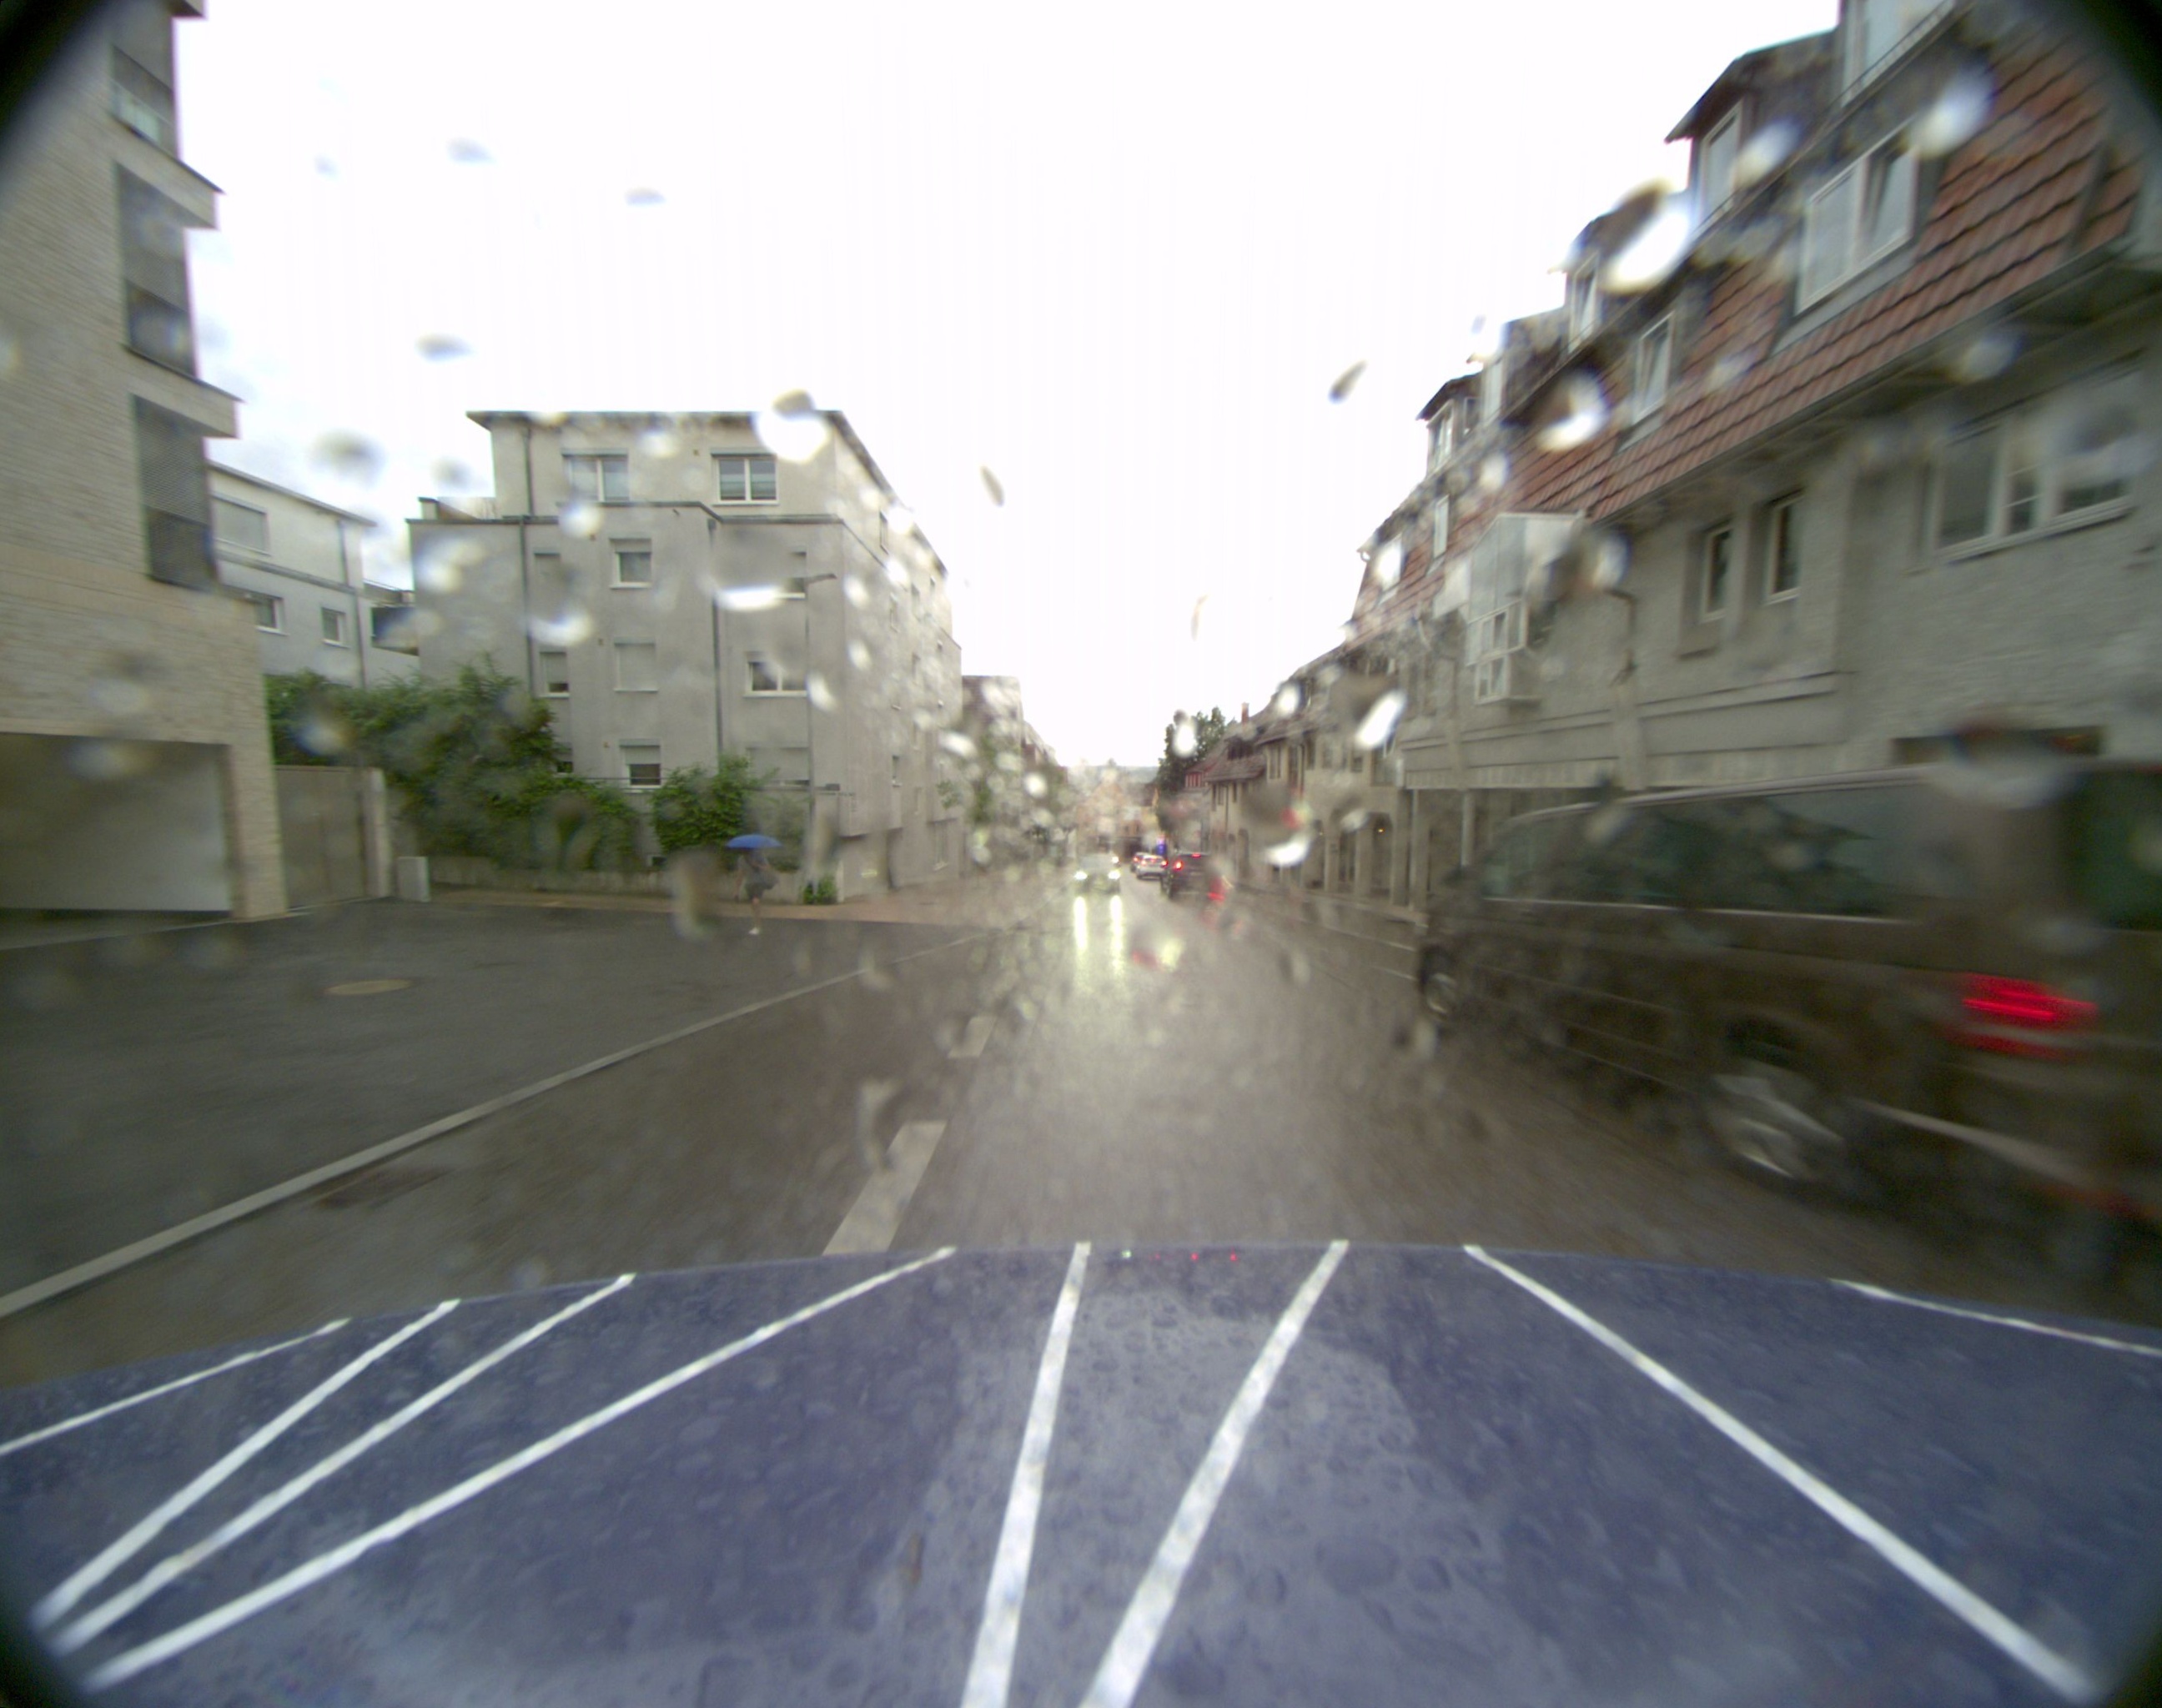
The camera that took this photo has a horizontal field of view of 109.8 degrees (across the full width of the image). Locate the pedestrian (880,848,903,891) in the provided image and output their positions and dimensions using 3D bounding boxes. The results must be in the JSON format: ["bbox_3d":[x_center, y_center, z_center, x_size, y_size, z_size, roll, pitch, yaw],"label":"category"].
[{"bbox_3d":[-6.983,0.575,28.068,0.692,1.547,0.710,-1,1,-5],"label":"pedestrian"}]

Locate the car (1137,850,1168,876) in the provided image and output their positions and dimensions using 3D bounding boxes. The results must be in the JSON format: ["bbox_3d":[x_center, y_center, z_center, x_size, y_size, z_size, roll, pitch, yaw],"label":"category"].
[{"bbox_3d":[4.370,0.539,46.676,1.681,1.501,3.589,0,1,2],"label":"car"}]

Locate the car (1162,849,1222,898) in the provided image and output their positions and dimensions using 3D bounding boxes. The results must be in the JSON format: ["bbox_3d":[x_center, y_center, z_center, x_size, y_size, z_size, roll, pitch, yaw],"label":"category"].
[{"bbox_3d":[4.113,0.650,28.669,1.786,1.684,4.460,0,1,2],"label":"car"}]

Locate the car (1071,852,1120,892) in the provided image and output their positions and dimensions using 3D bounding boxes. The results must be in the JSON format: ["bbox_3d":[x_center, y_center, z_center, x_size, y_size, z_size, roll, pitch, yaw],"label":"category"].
[{"bbox_3d":[0.679,0.732,32.634,1.967,1.549,4.622,0,1,2],"label":"car"}]

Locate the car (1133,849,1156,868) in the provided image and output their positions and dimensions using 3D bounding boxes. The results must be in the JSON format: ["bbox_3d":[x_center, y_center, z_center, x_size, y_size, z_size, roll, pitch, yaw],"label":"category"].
[{"bbox_3d":[5.314,0.337,63.729,1.681,1.501,3.588,0,1,0],"label":"car"}]

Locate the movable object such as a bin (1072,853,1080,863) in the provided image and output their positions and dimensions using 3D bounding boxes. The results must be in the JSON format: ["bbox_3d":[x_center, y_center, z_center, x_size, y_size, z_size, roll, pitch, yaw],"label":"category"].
[{"bbox_3d":[-0.544,0.433,82.541,0.571,1.022,0.467,1,1,-39],"label":"movable object such as a bin"}]

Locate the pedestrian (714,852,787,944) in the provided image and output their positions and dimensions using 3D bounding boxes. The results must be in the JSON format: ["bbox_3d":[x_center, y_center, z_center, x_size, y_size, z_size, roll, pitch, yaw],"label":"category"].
[{"bbox_3d":[-5.849,0.752,13.503,0.737,1.533,1.038,3,2,4],"label":"pedestrian"}]

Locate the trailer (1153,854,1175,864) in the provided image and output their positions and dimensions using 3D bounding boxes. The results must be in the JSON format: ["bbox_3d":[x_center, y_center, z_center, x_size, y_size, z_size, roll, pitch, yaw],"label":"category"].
[{"bbox_3d":[8.527,0.494,78.481,1.998,0.900,4.478,-2,1,4],"label":"trailer"}]

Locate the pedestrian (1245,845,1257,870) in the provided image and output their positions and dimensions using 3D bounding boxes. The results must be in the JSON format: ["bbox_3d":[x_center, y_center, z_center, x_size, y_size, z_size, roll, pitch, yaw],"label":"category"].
[{"bbox_3d":[12.024,0.265,53.642,0.689,1.730,0.735,-2,1,4],"label":"pedestrian"}]

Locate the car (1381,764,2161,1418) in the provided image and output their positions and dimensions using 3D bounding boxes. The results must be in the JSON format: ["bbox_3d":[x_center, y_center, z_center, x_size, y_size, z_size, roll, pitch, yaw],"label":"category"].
[{"bbox_3d":[3.949,0.675,4.748,1.937,1.896,5.041,1,1,-2],"label":"car"}]

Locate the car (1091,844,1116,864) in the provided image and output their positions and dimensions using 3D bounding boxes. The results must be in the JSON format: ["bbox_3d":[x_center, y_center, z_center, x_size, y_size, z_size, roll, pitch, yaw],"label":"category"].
[{"bbox_3d":[1.945,-0.003,64.148,1.967,1.598,4.384,0,0,3],"label":"car"}]

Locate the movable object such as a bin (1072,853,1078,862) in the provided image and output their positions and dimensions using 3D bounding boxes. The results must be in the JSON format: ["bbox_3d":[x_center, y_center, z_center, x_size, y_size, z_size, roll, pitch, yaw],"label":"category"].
[{"bbox_3d":[-0.651,0.365,83.491,0.596,1.022,0.476,2,1,3],"label":"movable object such as a bin"}]

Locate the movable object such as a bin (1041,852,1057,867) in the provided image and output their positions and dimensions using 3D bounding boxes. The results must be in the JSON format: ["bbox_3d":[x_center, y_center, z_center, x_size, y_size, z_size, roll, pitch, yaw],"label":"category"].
[{"bbox_3d":[-2.768,0.466,65.280,1.237,1.327,1.173,1,1,3],"label":"movable object such as a bin"}]
